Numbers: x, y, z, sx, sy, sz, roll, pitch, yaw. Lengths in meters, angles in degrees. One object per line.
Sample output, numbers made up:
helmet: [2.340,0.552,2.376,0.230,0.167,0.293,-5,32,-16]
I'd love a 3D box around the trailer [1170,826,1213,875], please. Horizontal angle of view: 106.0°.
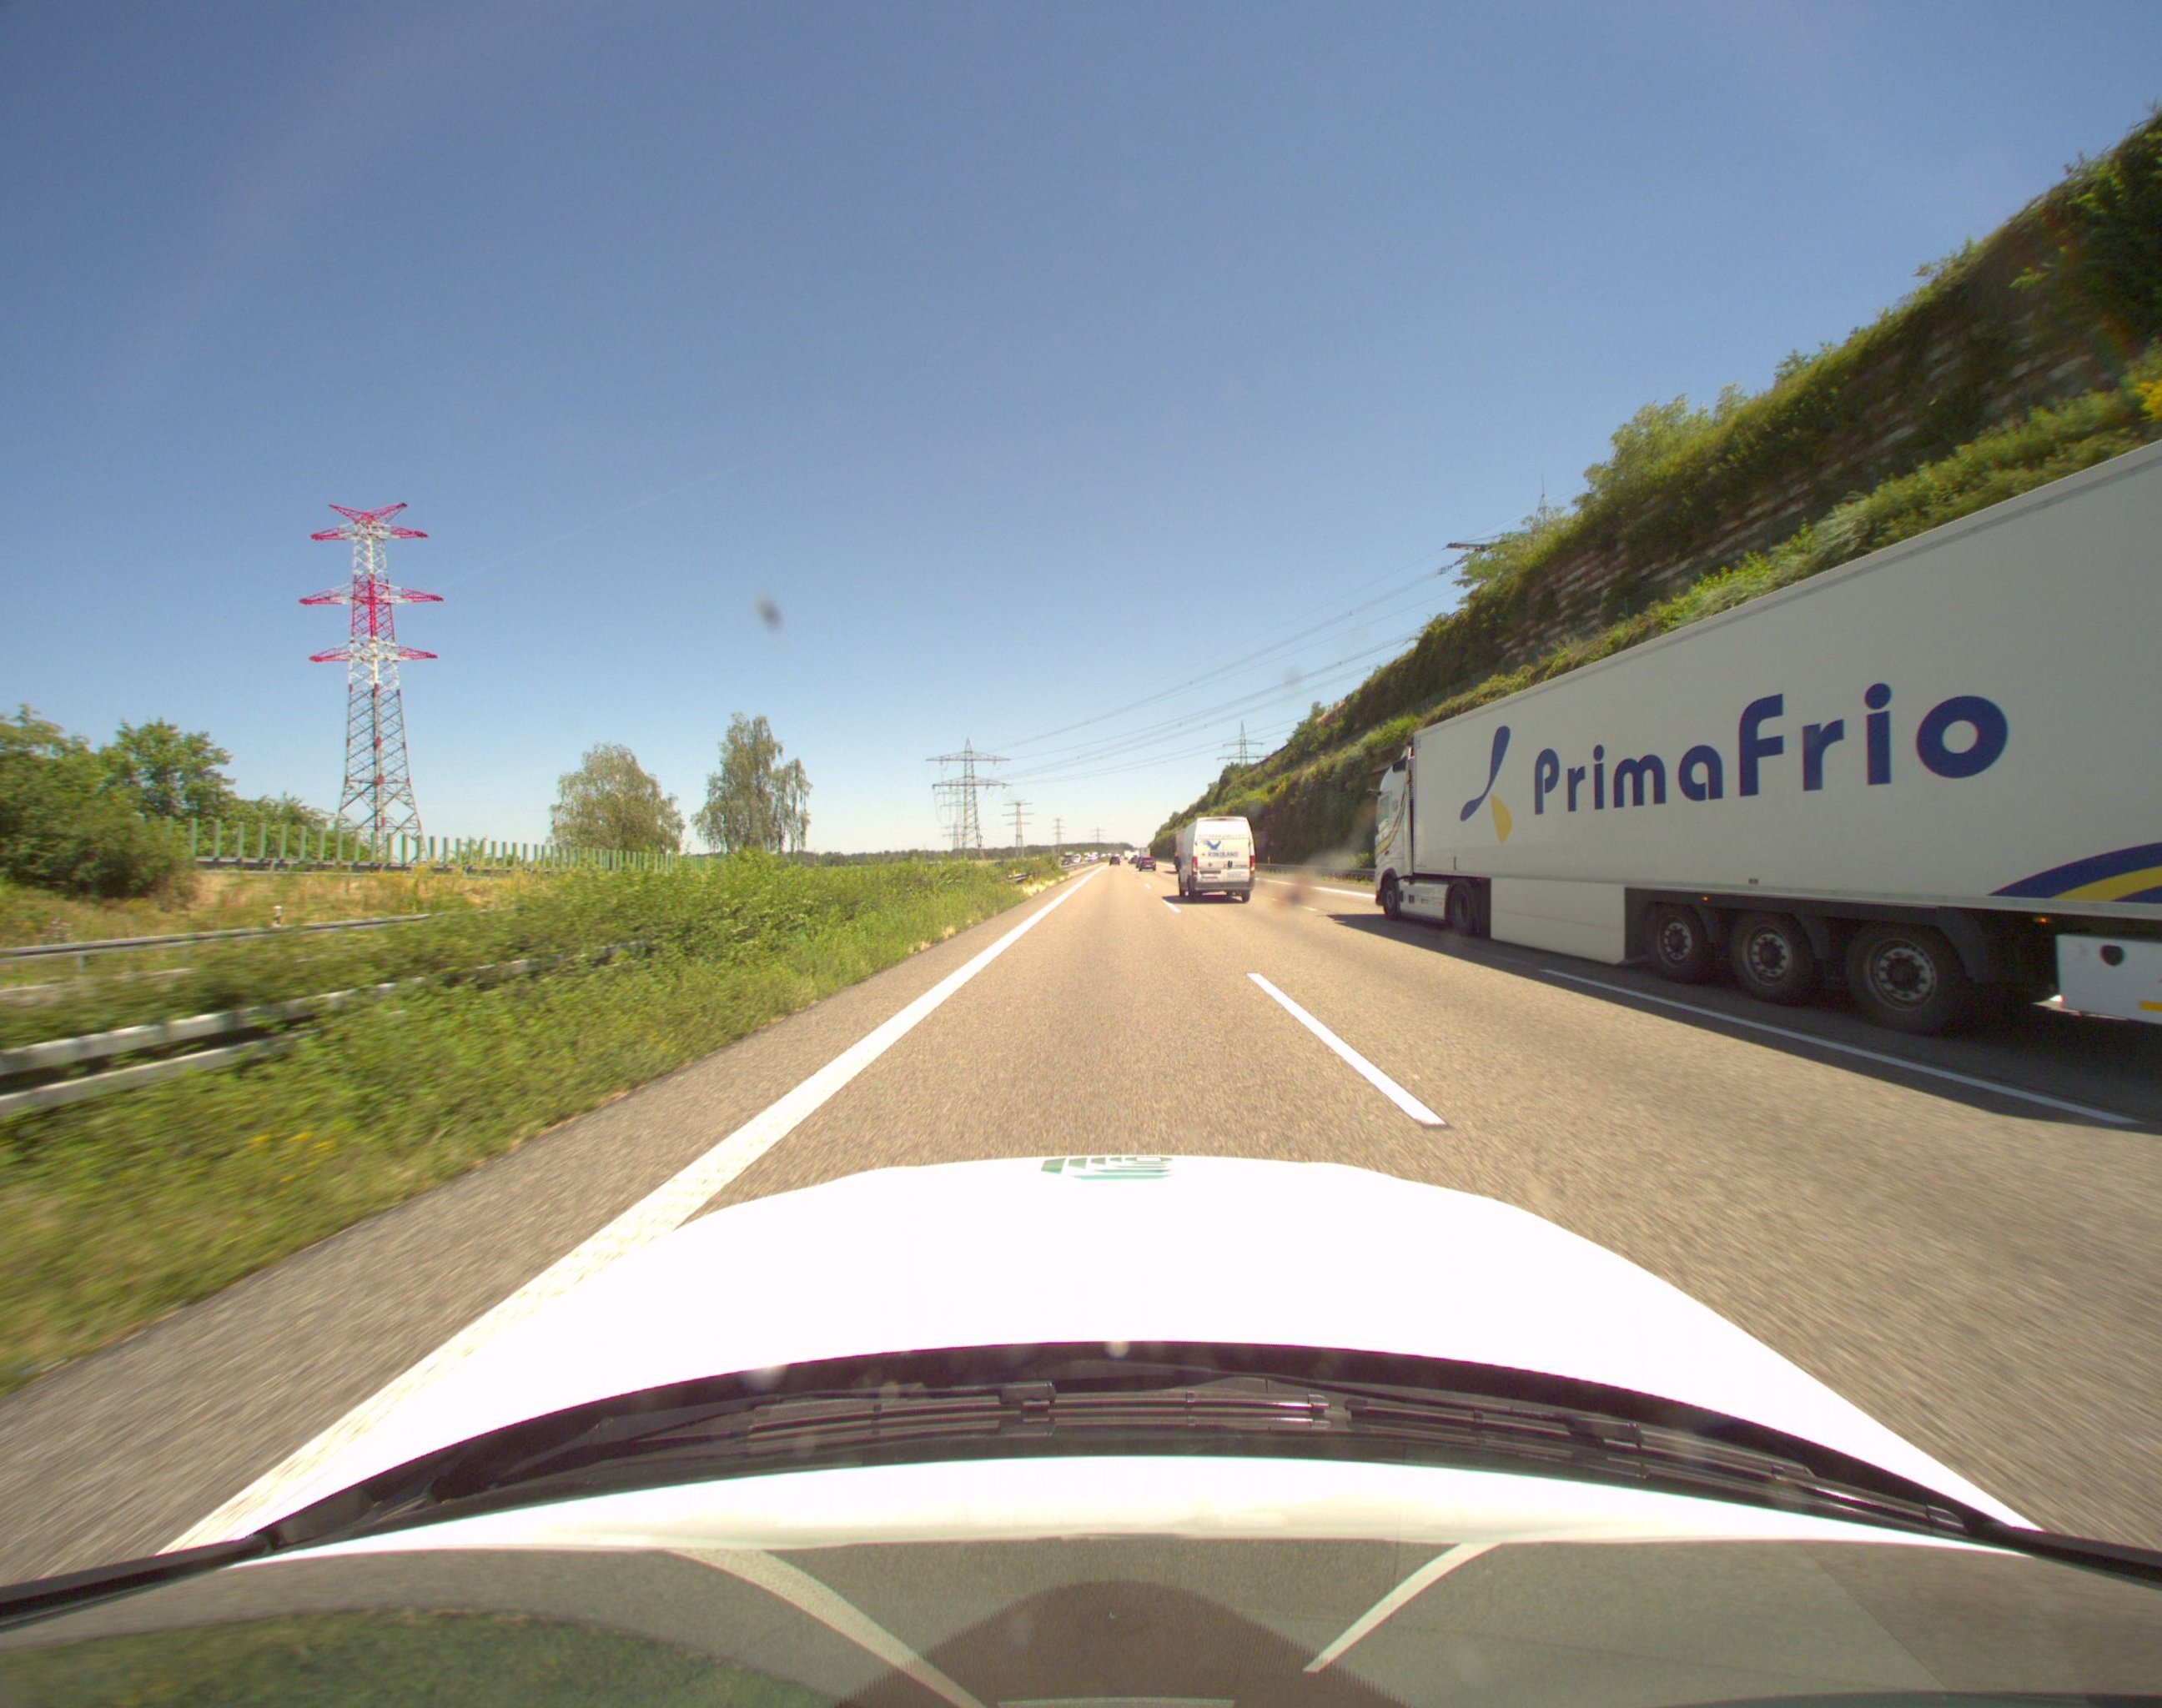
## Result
trailer: [9.776,-0.272,73.287,2.634,4.005,13.615,-1,0,3]

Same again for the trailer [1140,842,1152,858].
trailer: [18.564,-1.069,232.604,3.169,4.121,13.442,-2,-1,3]

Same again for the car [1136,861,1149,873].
car: [8.600,1.768,114.101,1.786,1.653,4.141,-1,0,3]

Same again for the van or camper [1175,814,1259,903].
van or camper: [4.682,0.168,29.057,2.088,2.769,6.760,-1,0,2]

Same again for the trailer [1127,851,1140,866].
trailer: [12.105,1.028,188.755,2.600,3.213,9.959,-2,-1,3]

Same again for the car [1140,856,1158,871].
car: [7.424,1.005,89.215,1.742,1.525,3.998,-1,-1,3]

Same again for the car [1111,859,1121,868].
car: [6.506,1.734,151.664,1.822,1.670,4.003,-2,-1,3]

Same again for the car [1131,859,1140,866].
car: [11.048,1.717,165.397,1.822,1.525,4.004,-2,-1,4]

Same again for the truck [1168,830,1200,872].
truck: [10.152,-0.285,80.782,2.607,3.992,6.531,-1,0,3]

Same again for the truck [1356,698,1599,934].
truck: [8.156,-0.664,17.717,2.497,4.220,6.260,0,-1,3]

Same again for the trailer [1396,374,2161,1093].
trailer: [7.760,-0.706,9.047,2.505,4.212,17.036,-1,0,2]

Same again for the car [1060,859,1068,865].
car: [-4.041,1.895,197.347,1.612,1.460,4.285,-4,0,1]
